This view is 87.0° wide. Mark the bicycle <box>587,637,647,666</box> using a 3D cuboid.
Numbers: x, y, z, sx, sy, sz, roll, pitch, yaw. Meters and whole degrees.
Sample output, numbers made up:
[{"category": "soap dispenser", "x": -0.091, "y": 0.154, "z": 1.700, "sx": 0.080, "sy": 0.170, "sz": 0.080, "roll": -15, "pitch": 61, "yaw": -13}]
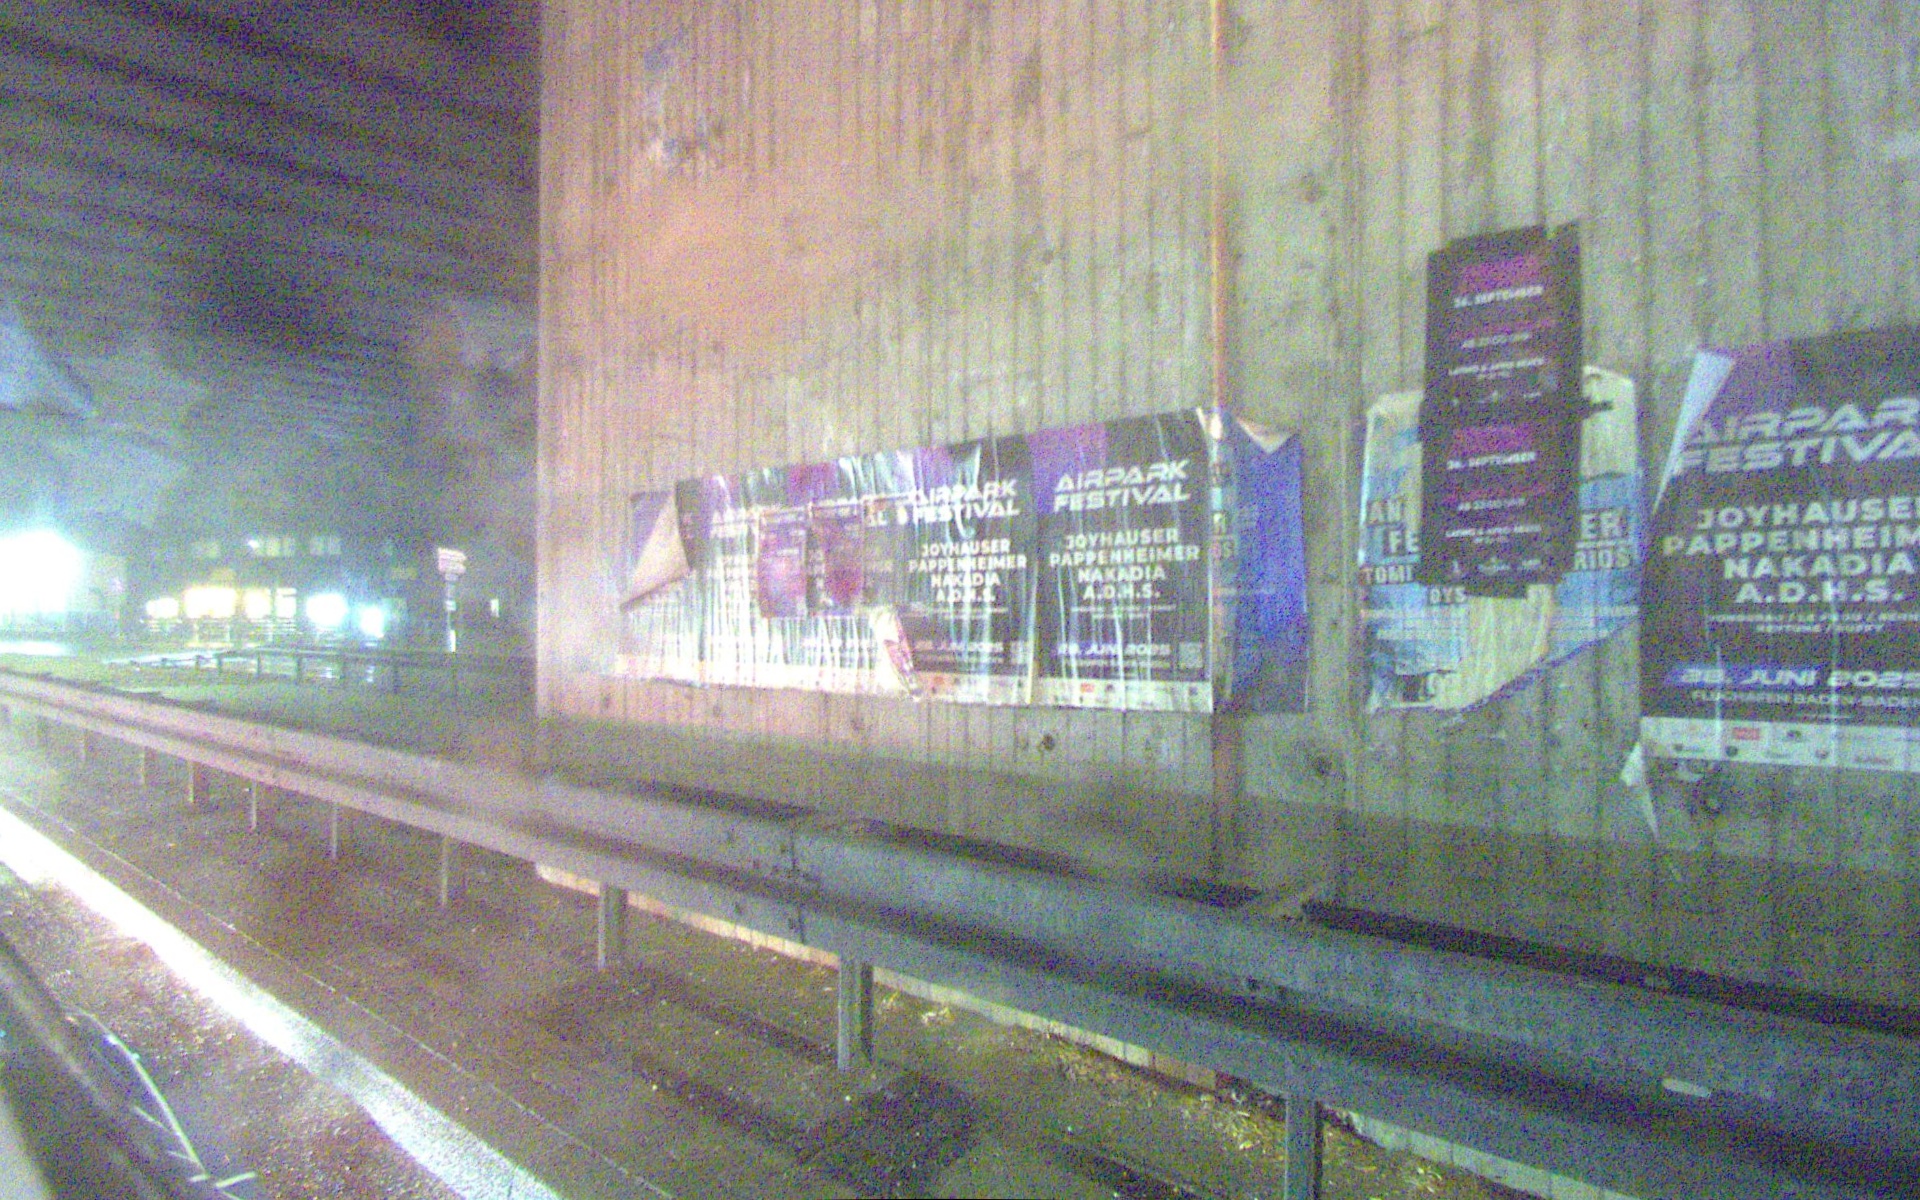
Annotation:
[{"category": "bicycle", "x": -11.553, "y": 1.712, "z": 34.062, "sx": 2.206, "sy": 0.912, "sz": 0.622, "roll": -1, "pitch": -2, "yaw": 32}]

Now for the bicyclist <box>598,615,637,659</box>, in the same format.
[{"category": "bicyclist", "x": -11.543, "y": 1.231, "z": 34.066, "sx": 1.184, "sy": 1.446, "sz": 0.622, "roll": -1, "pitch": -2, "yaw": 32}]
